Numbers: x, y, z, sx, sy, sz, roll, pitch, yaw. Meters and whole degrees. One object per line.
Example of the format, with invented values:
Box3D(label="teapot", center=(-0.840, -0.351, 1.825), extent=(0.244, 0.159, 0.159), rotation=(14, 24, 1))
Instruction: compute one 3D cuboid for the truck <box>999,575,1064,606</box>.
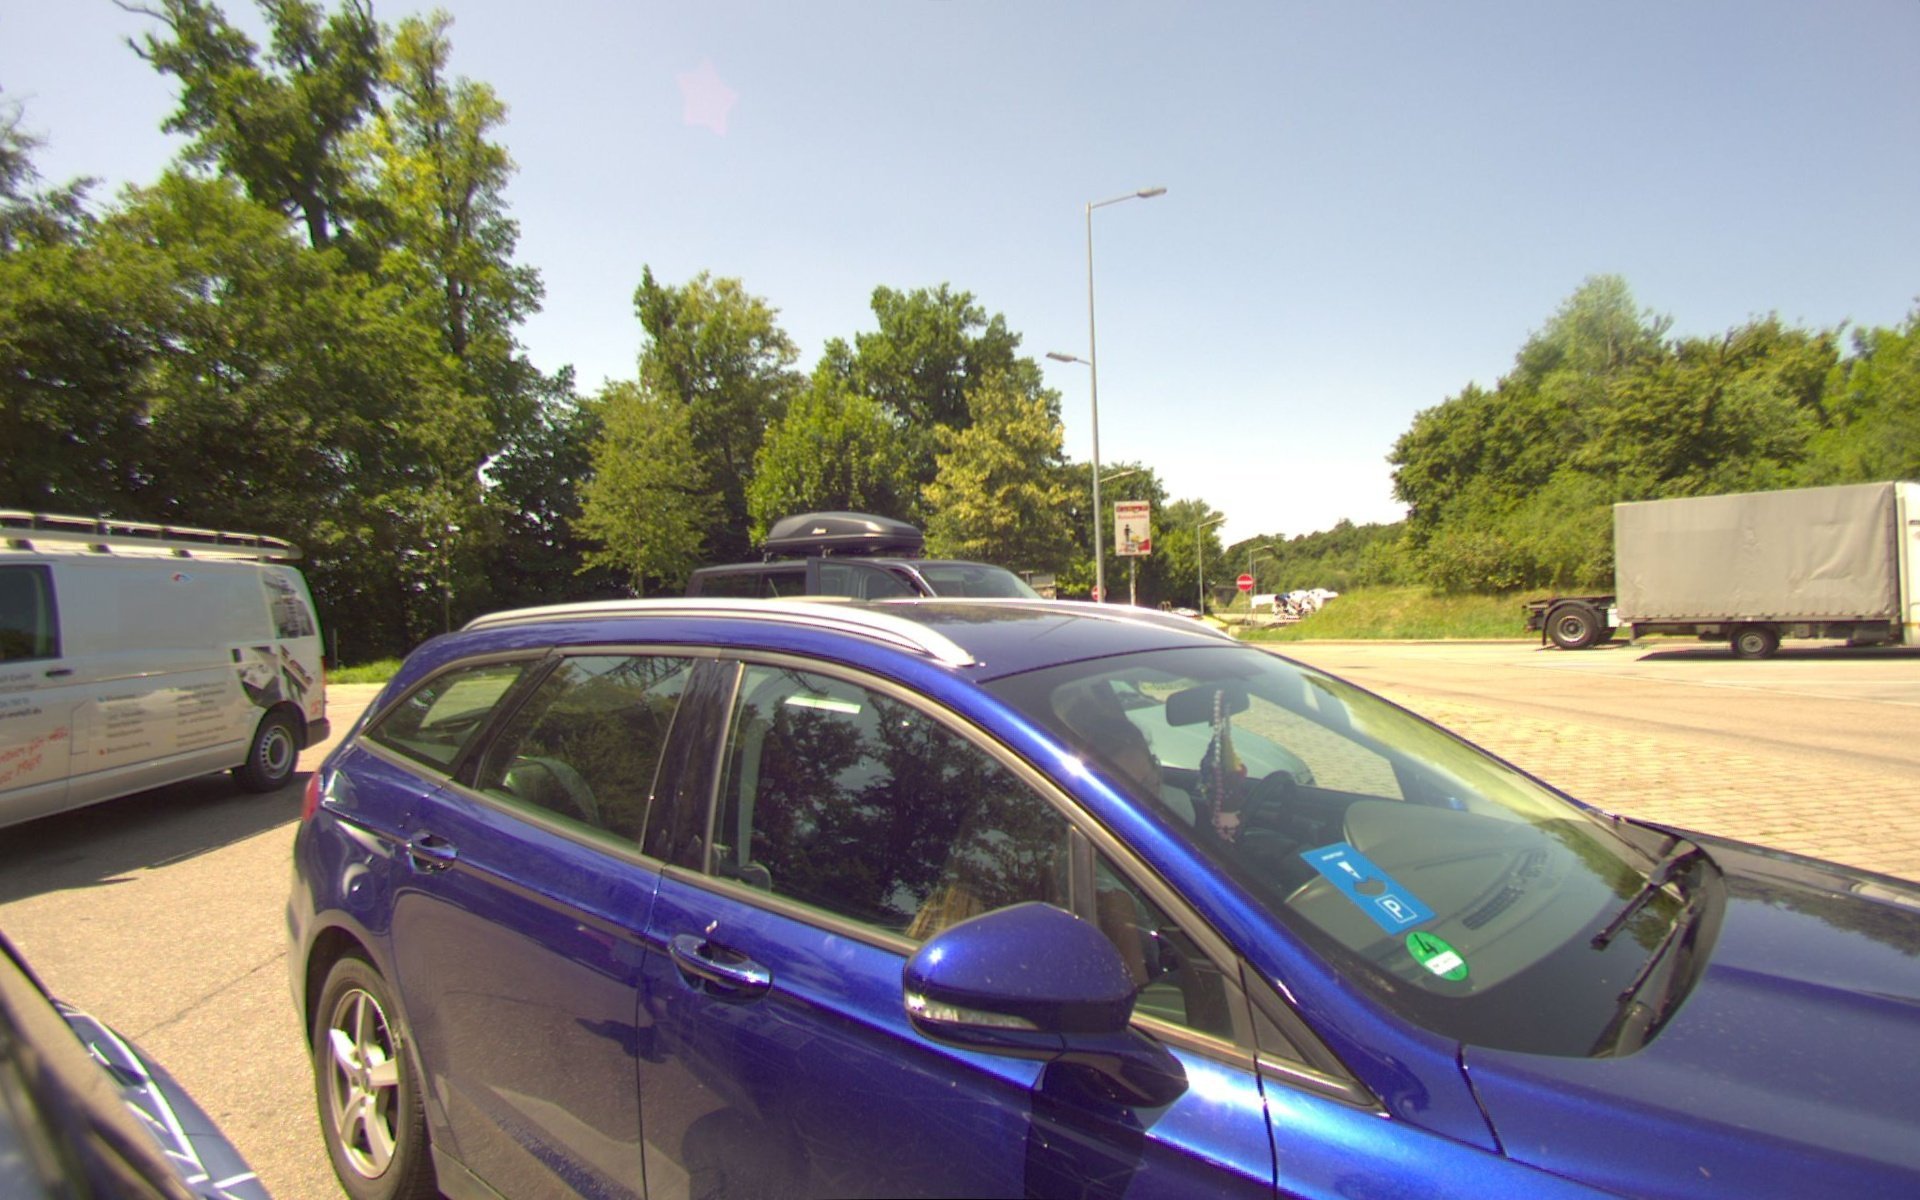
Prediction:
Box3D(label="truck", center=(3.444, -0.460, 48.803), extent=(2.866, 1.386, 1.158), rotation=(-2, -1, 22))

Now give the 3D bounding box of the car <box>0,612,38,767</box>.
Box3D(label="car", center=(-10.882, 0.894, 9.122), extent=(1.848, 1.465, 3.722), rotation=(-3, -1, 45))

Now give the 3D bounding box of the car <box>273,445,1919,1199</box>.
Box3D(label="car", center=(0.257, 0.642, 2.093), extent=(4.411, 1.429, 1.721), rotation=(-2, -1, 41))

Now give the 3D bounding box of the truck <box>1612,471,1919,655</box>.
Box3D(label="truck", center=(16.619, -0.623, 18.826), extent=(7.253, 3.175, 2.148), rotation=(-2, -1, 41))

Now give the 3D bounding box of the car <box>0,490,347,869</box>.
Box3D(label="car", center=(-6.345, 0.464, 6.527), extent=(1.817, 2.121, 5.439), rotation=(0, -1, -4))

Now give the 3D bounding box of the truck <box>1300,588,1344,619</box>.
Box3D(label="truck", center=(50.089, 0.516, 140.266), extent=(3.059, 4.148, 7.519), rotation=(-1, 0, -2))

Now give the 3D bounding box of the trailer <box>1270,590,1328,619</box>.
Box3D(label="trailer", center=(49.712, 0.629, 149.068), extent=(3.113, 4.077, 14.991), rotation=(-1, 0, -2))

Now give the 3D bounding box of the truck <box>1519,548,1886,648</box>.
Box3D(label="truck", center=(16.927, 0.047, 23.498), extent=(6.613, 2.029, 1.973), rotation=(-2, -1, 41))

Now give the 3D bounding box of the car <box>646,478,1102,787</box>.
Box3D(label="car", center=(-0.917, 0.306, 9.545), extent=(4.076, 2.336, 1.767), rotation=(-2, -1, 35))

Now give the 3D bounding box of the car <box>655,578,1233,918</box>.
Box3D(label="car", center=(-0.243, 0.633, 5.622), extent=(3.112, 1.370, 1.326), rotation=(-2, -1, 41))
